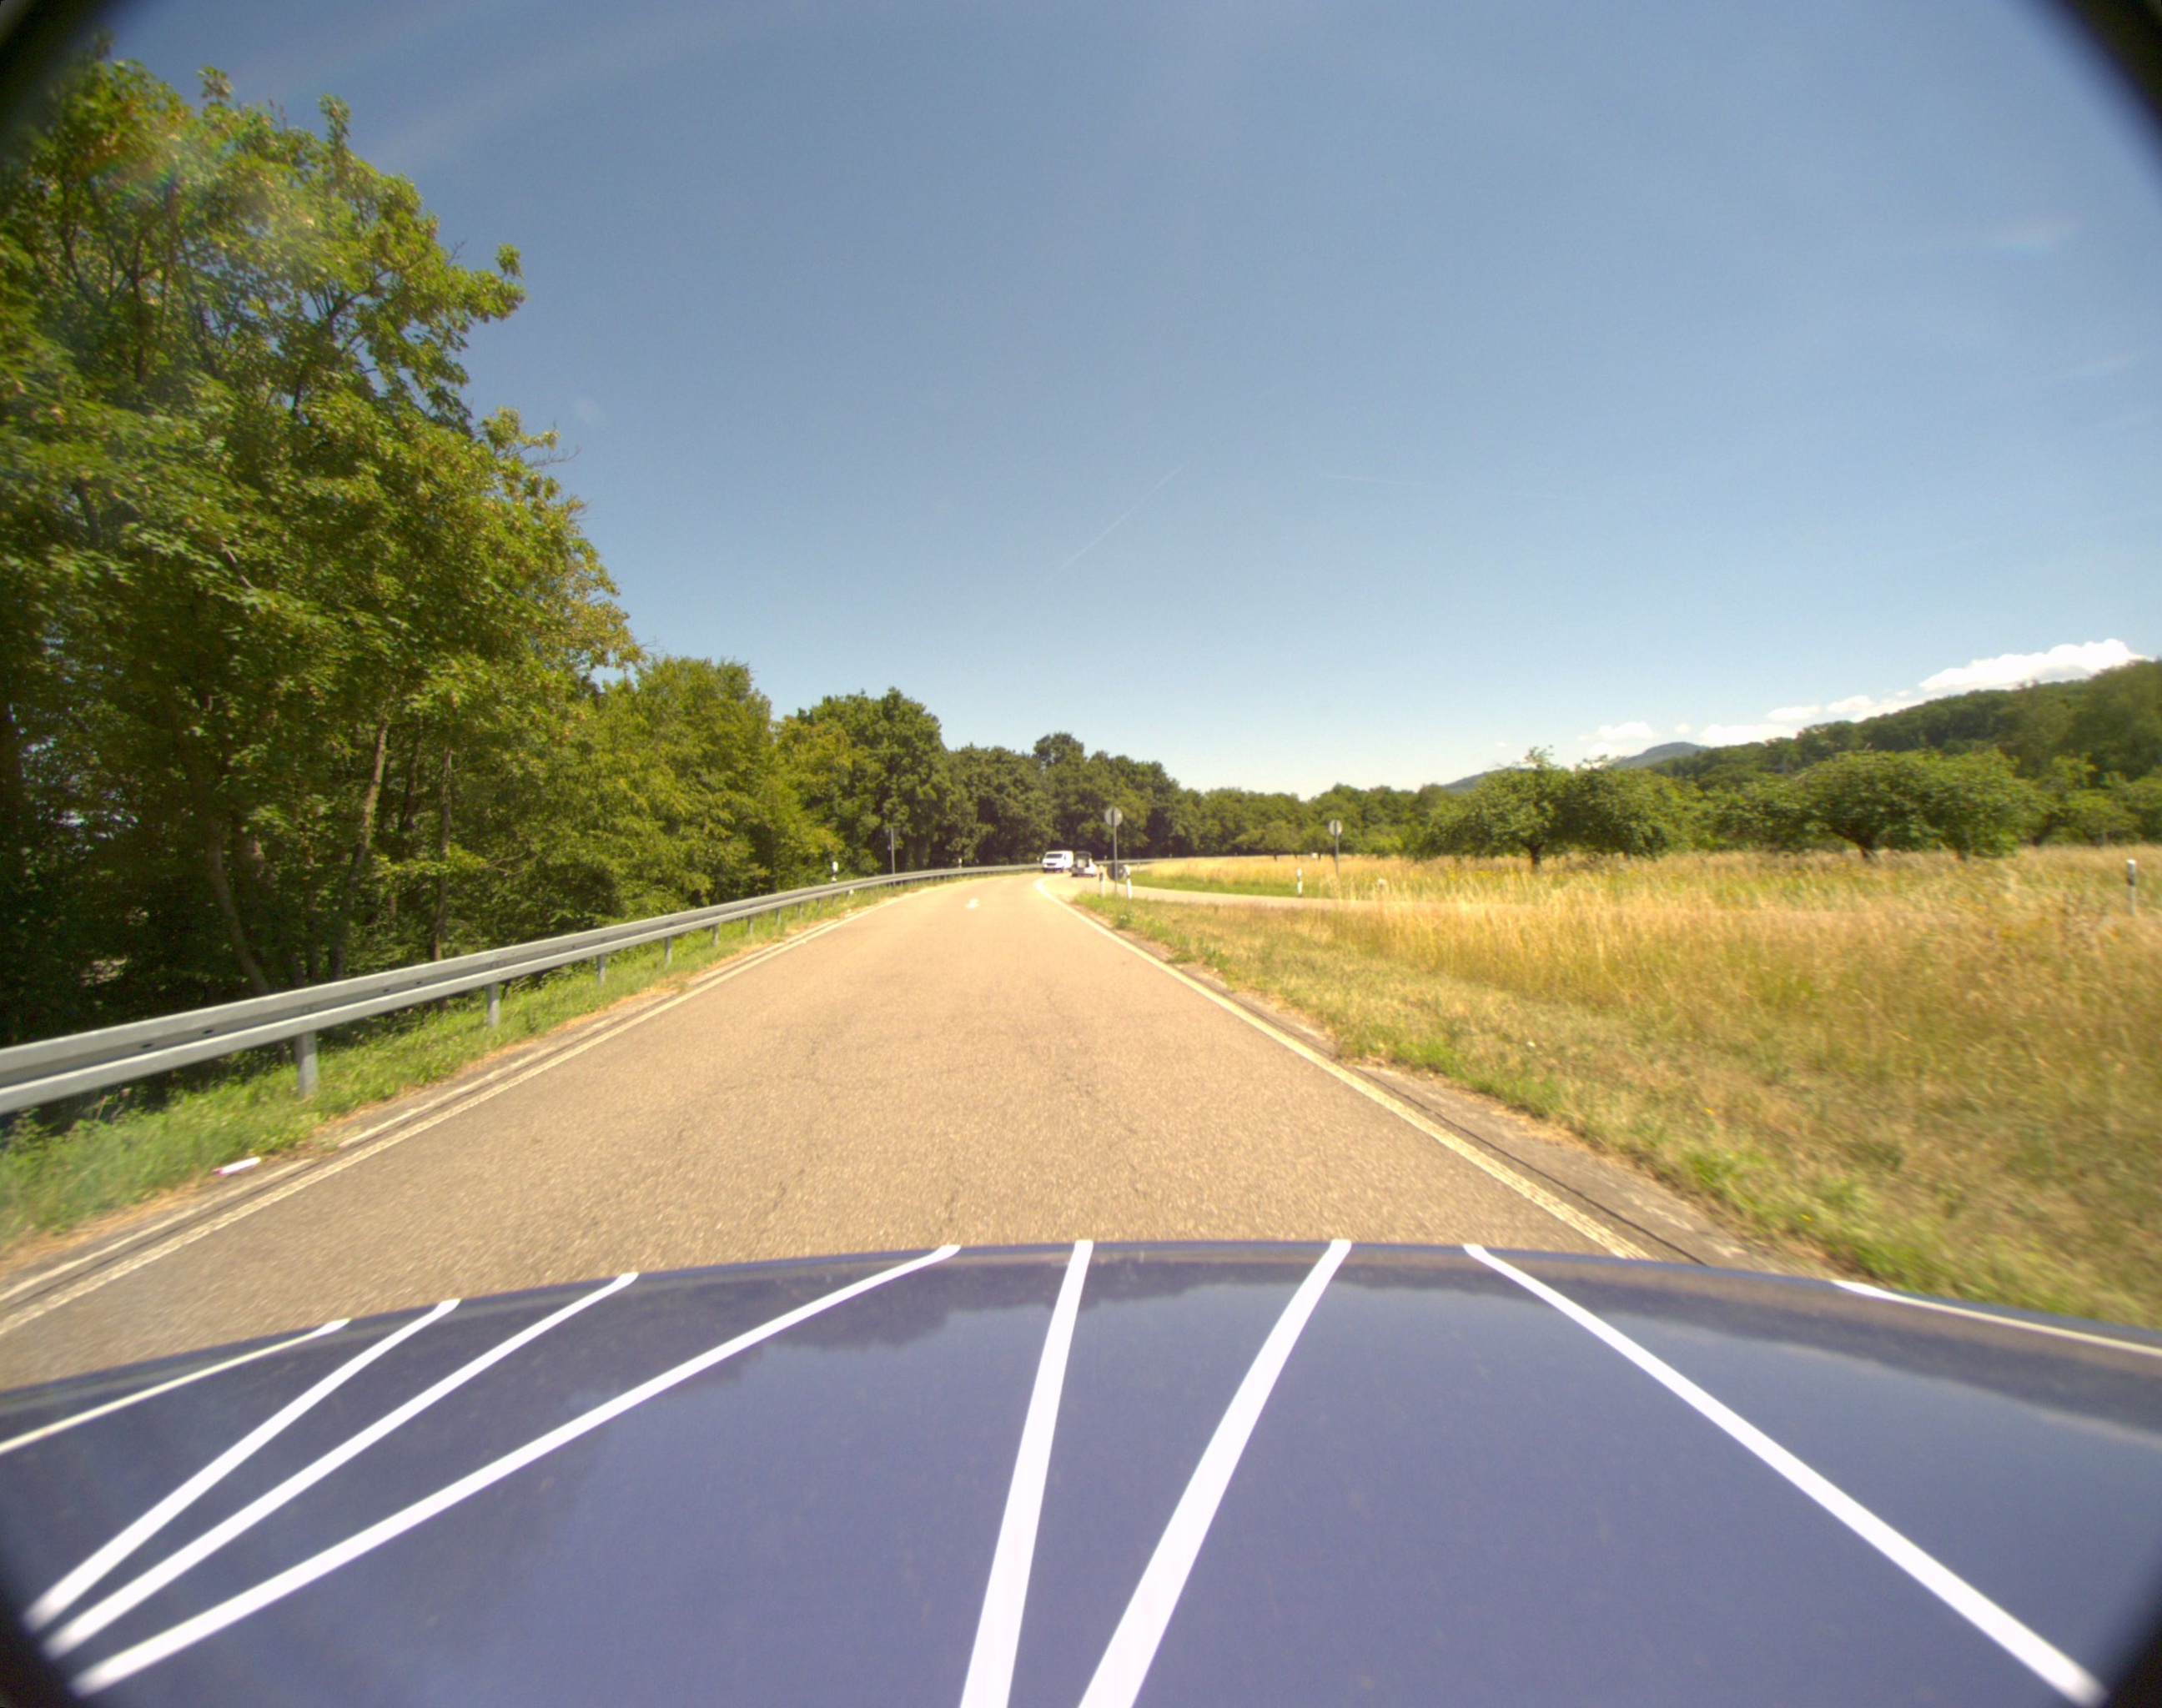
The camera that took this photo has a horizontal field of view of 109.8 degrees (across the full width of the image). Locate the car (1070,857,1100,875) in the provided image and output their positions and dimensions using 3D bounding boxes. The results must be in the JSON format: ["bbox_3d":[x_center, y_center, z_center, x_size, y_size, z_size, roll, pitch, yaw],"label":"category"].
[{"bbox_3d":[0.373,0.978,59.715,1.850,1.415,4.151,0,-2,7],"label":"car"}]

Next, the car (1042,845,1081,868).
[{"bbox_3d":[-1.791,0.248,71.856,2.222,2.021,5.433,-2,0,15],"label":"car"}]

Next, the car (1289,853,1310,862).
[{"bbox_3d":[38.131,0.584,132.330,1.822,1.498,4.182,1,0,43],"label":"car"}]

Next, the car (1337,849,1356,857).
[{"bbox_3d":[53.512,-0.223,153.148,4.409,1.450,1.822,-2,4,-44],"label":"car"}]
